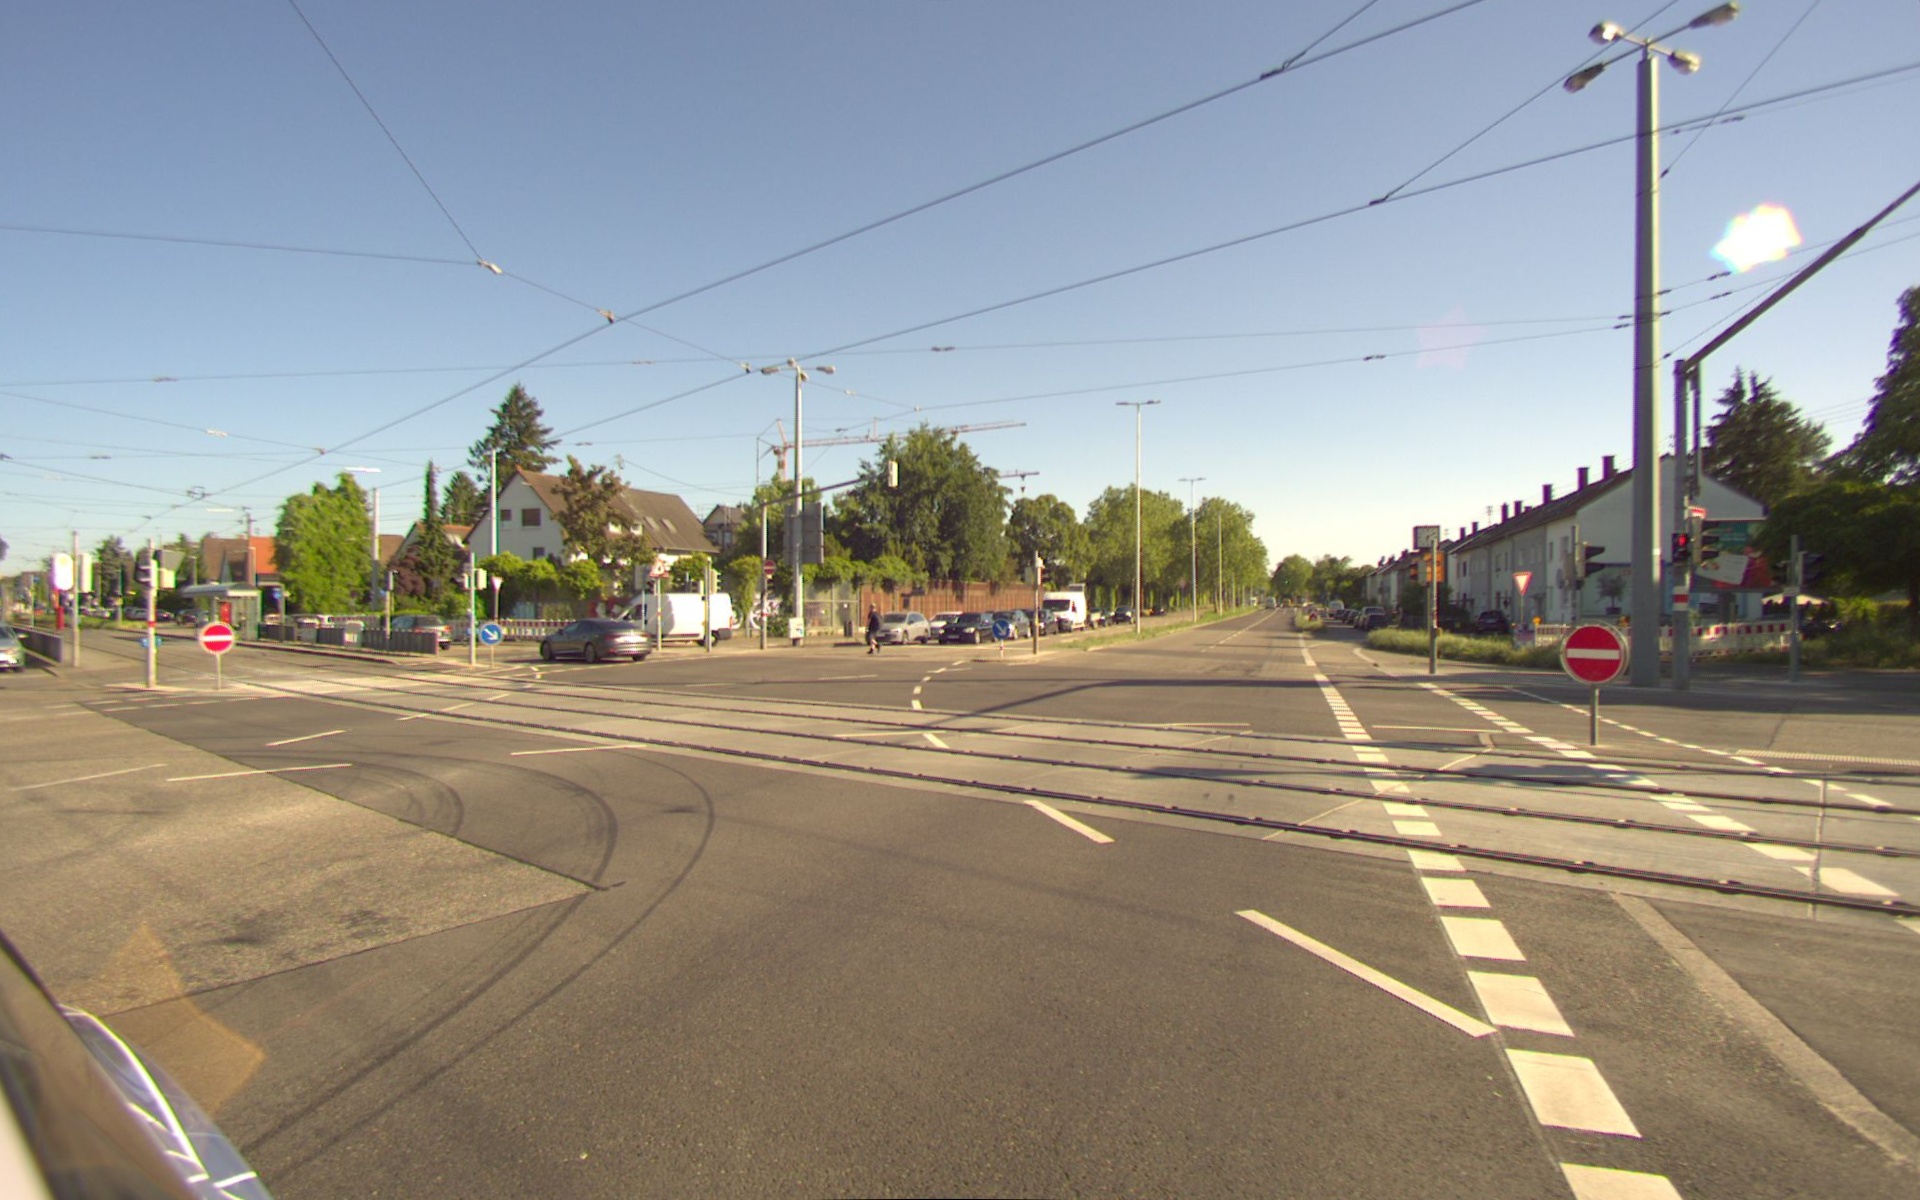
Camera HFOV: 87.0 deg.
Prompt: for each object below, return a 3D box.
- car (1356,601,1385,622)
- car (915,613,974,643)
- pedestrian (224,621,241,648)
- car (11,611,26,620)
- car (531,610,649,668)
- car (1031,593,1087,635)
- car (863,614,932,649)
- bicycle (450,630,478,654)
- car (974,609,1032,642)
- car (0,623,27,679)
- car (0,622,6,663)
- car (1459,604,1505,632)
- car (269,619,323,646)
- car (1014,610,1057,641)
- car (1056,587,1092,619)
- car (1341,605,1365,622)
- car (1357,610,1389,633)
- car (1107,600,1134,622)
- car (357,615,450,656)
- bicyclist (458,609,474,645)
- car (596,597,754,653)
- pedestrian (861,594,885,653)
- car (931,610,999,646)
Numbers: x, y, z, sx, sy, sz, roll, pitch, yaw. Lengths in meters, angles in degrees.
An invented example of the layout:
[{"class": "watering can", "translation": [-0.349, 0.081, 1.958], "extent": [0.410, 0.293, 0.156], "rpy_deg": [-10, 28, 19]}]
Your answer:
[{"class": "car", "translation": [35.167, 0.980, 86.765], "extent": [1.983, 1.775, 3.978], "rpy_deg": [-1, -1, 17]}, {"class": "car", "translation": [-0.759, 1.426, 53.081], "extent": [1.921, 1.477, 4.343], "rpy_deg": [-1, -1, 16]}, {"class": "pedestrian", "translation": [-39.140, 1.872, 54.456], "extent": [0.711, 1.425, 0.615], "rpy_deg": [-2, -1, 42]}, {"class": "car", "translation": [-181.573, 3.008, 195.133], "extent": [4.002, 1.785, 1.971], "rpy_deg": [-1, -1, 45]}, {"class": "car", "translation": [-11.696, 1.180, 31.910], "extent": [3.998, 1.700, 1.773], "rpy_deg": [-1, -1, 40]}, {"class": "car", "translation": [6.072, 0.863, 61.371], "extent": [2.163, 2.429, 5.886], "rpy_deg": [-1, -1, 18]}, {"class": "car", "translation": [-2.728, 1.364, 45.336], "extent": [1.657, 1.488, 4.612], "rpy_deg": [-1, -1, 16]}, {"class": "bicycle", "translation": [-22.828, 1.911, 46.581], "extent": [1.949, 1.050, 0.501], "rpy_deg": [-1, -1, 44]}, {"class": "car", "translation": [2.171, 1.233, 49.739], "extent": [1.921, 1.477, 4.237], "rpy_deg": [-2, -1, 16]}, {"class": "car", "translation": [-28.364, 1.439, 29.135], "extent": [4.421, 1.539, 1.856], "rpy_deg": [-1, -1, 43]}, {"class": "car", "translation": [-38.192, 1.620, 38.955], "extent": [4.193, 1.546, 1.732], "rpy_deg": [-1, -1, 41]}, {"class": "car", "translation": [34.738, 1.202, 67.445], "extent": [1.983, 1.775, 3.977], "rpy_deg": [-1, -1, 17]}, {"class": "car", "translation": [-36.904, 1.788, 56.215], "extent": [3.704, 1.469, 1.664], "rpy_deg": [-1, -1, 43]}, {"class": "car", "translation": [4.124, 1.358, 54.909], "extent": [1.485, 1.579, 3.506], "rpy_deg": [-2, -1, 18]}, {"class": "car", "translation": [7.585, 0.195, 67.208], "extent": [1.792, 2.029, 3.980], "rpy_deg": [-1, -1, 15]}, {"class": "car", "translation": [41.752, 1.400, 107.522], "extent": [1.983, 1.775, 3.977], "rpy_deg": [-1, -1, 17]}, {"class": "car", "translation": [33.549, 1.707, 82.279], "extent": [1.983, 1.775, 3.977], "rpy_deg": [-1, -1, 17]}, {"class": "car", "translation": [13.223, 0.917, 83.069], "extent": [1.791, 1.755, 3.981], "rpy_deg": [-1, -1, 15]}, {"class": "car", "translation": [-23.254, 1.438, 42.249], "extent": [4.688, 1.608, 1.795], "rpy_deg": [-1, -1, 39]}, {"class": "bicyclist", "translation": [-22.659, 1.243, 46.430], "extent": [0.648, 1.620, 0.484], "rpy_deg": [-1, -1, 43]}, {"class": "car", "translation": [-13.205, 1.100, 47.017], "extent": [6.751, 2.476, 2.356], "rpy_deg": [0, -1, -25]}, {"class": "pedestrian", "translation": [-2.958, 0.803, 34.491], "extent": [0.765, 1.963, 0.611], "rpy_deg": [-1, -1, 0]}, {"class": "car", "translation": [0.271, 1.216, 44.530], "extent": [1.921, 1.477, 4.227], "rpy_deg": [-1, -1, 16]}]
